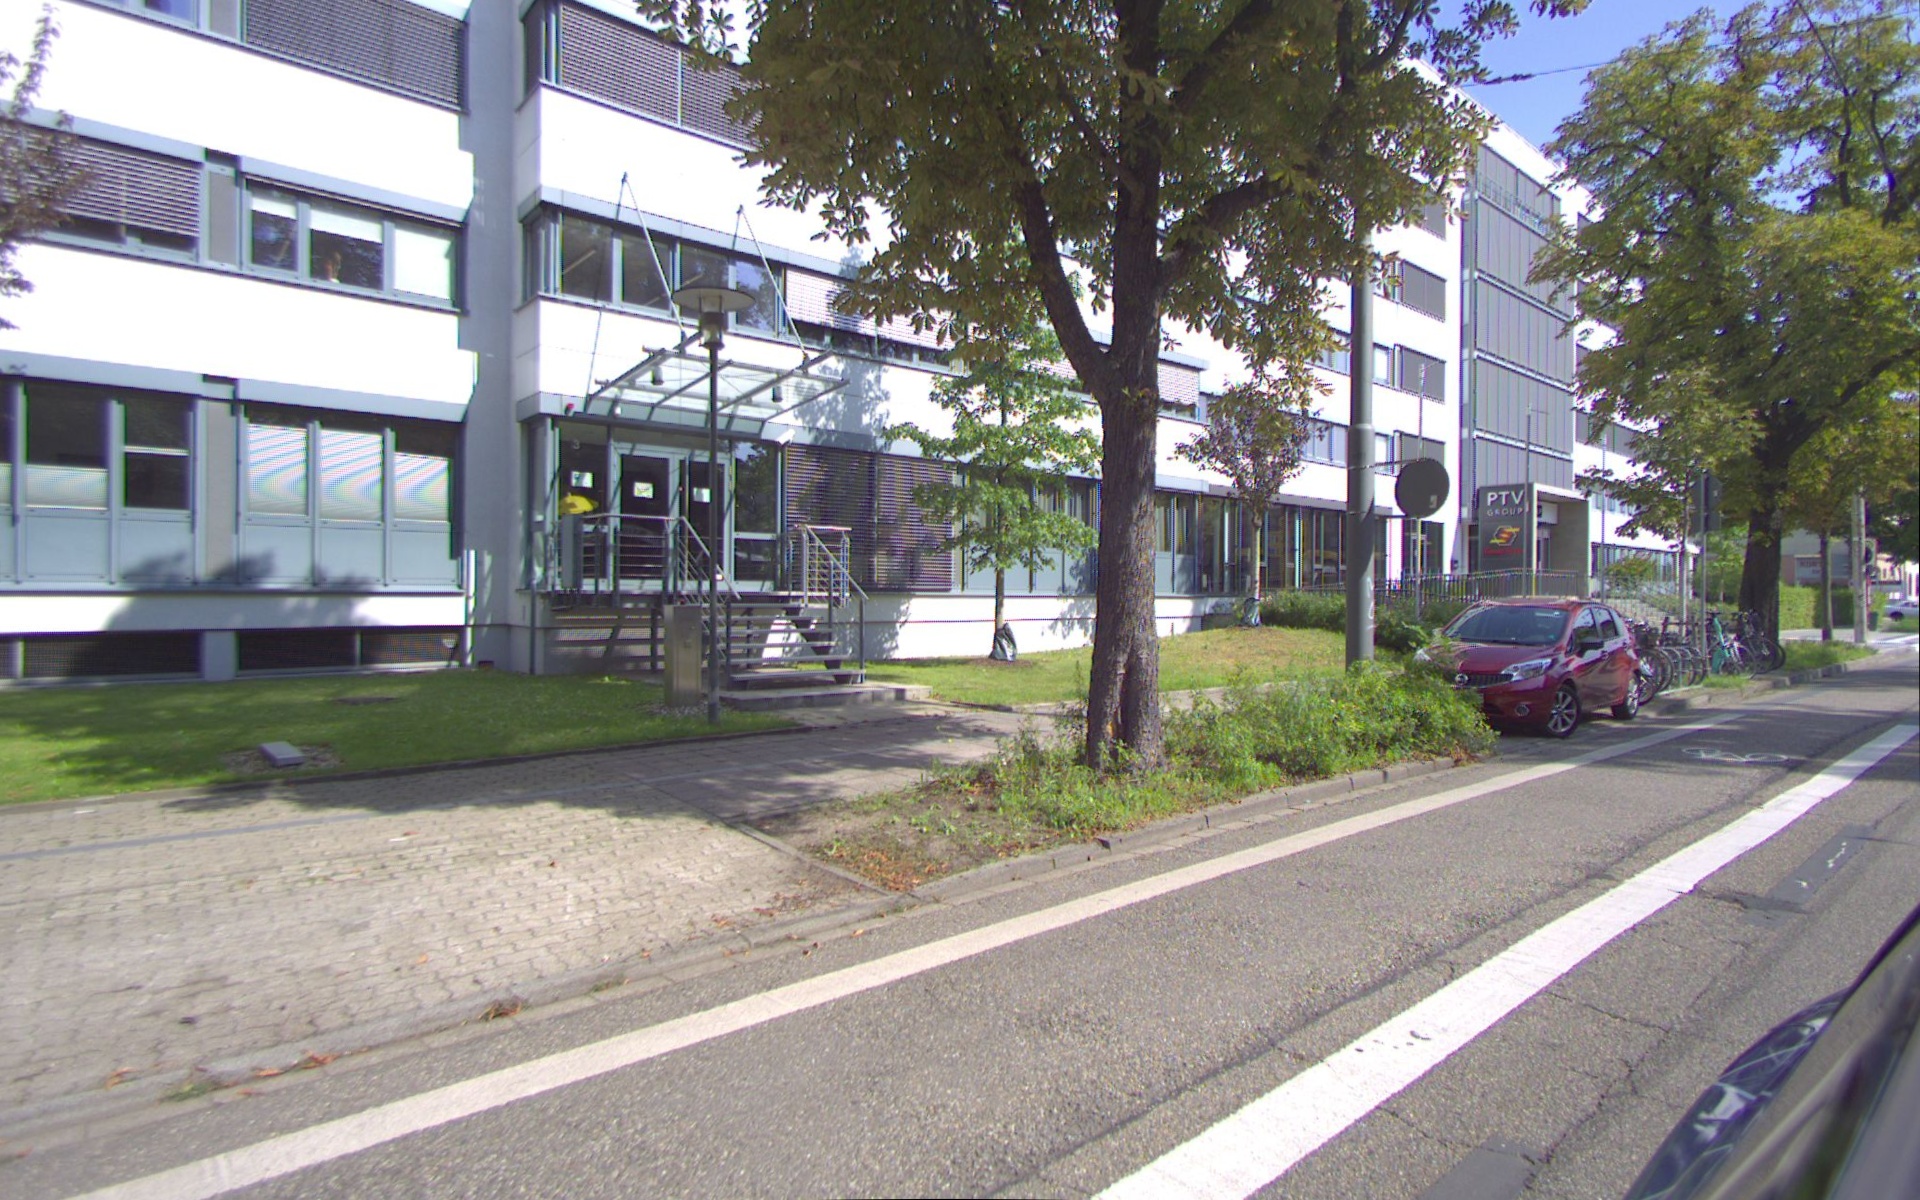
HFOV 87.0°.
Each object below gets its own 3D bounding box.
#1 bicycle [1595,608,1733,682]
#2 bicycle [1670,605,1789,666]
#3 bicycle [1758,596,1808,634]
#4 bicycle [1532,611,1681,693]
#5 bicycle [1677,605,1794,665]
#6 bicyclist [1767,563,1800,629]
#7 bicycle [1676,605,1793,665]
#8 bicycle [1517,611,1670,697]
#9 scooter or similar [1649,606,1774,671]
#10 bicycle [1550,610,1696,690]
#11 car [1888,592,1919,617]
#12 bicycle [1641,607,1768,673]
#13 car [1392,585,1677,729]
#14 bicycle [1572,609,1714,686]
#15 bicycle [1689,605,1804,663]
[{"bbox_3d":[11.561,0.715,16.672,0.531,1.085,1.774,0,1,-41],"label":"bicycle"},{"bbox_3d":[15.062,0.677,19.841,0.531,1.085,1.774,0,1,-41],"label":"bicycle"},{"bbox_3d":[25.947,0.456,31.886,1.134,1.139,2.499,0,0,41],"label":"bicycle"},{"bbox_3d":[9.590,0.735,15.068,0.531,1.085,1.774,0,1,-41],"label":"bicycle"},{"bbox_3d":[15.488,0.672,20.252,0.531,1.085,1.774,0,1,-41],"label":"bicycle"},{"bbox_3d":[25.865,-0.132,31.786,0.780,2.039,1.255,0,0,41],"label":"bicyclist"},{"bbox_3d":[15.464,0.672,20.246,0.531,1.085,1.774,0,1,-41],"label":"bicycle"},{"bbox_3d":[9.054,0.741,14.523,0.531,1.085,1.774,0,1,-41],"label":"bicycle"},{"bbox_3d":[13.887,0.690,18.746,0.531,1.085,1.774,0,1,-41],"label":"scooter or similar"},{"bbox_3d":[10.108,0.730,15.481,0.531,1.085,1.774,0,1,-41],"label":"bicycle"},{"bbox_3d":[62.263,0.284,64.516,1.930,1.534,4.541,0,1,-45],"label":"car"},{"bbox_3d":[13.464,0.695,18.352,0.531,1.085,1.774,0,1,-41],"label":"bicycle"},{"bbox_3d":[7.234,0.575,12.571,4.199,1.480,1.759,0,1,-41],"label":"car"},{"bbox_3d":[10.743,0.724,15.964,0.531,1.085,1.774,0,1,-41],"label":"bicycle"},{"bbox_3d":[16.035,0.667,20.663,0.531,1.085,1.774,0,1,-41],"label":"bicycle"}]
